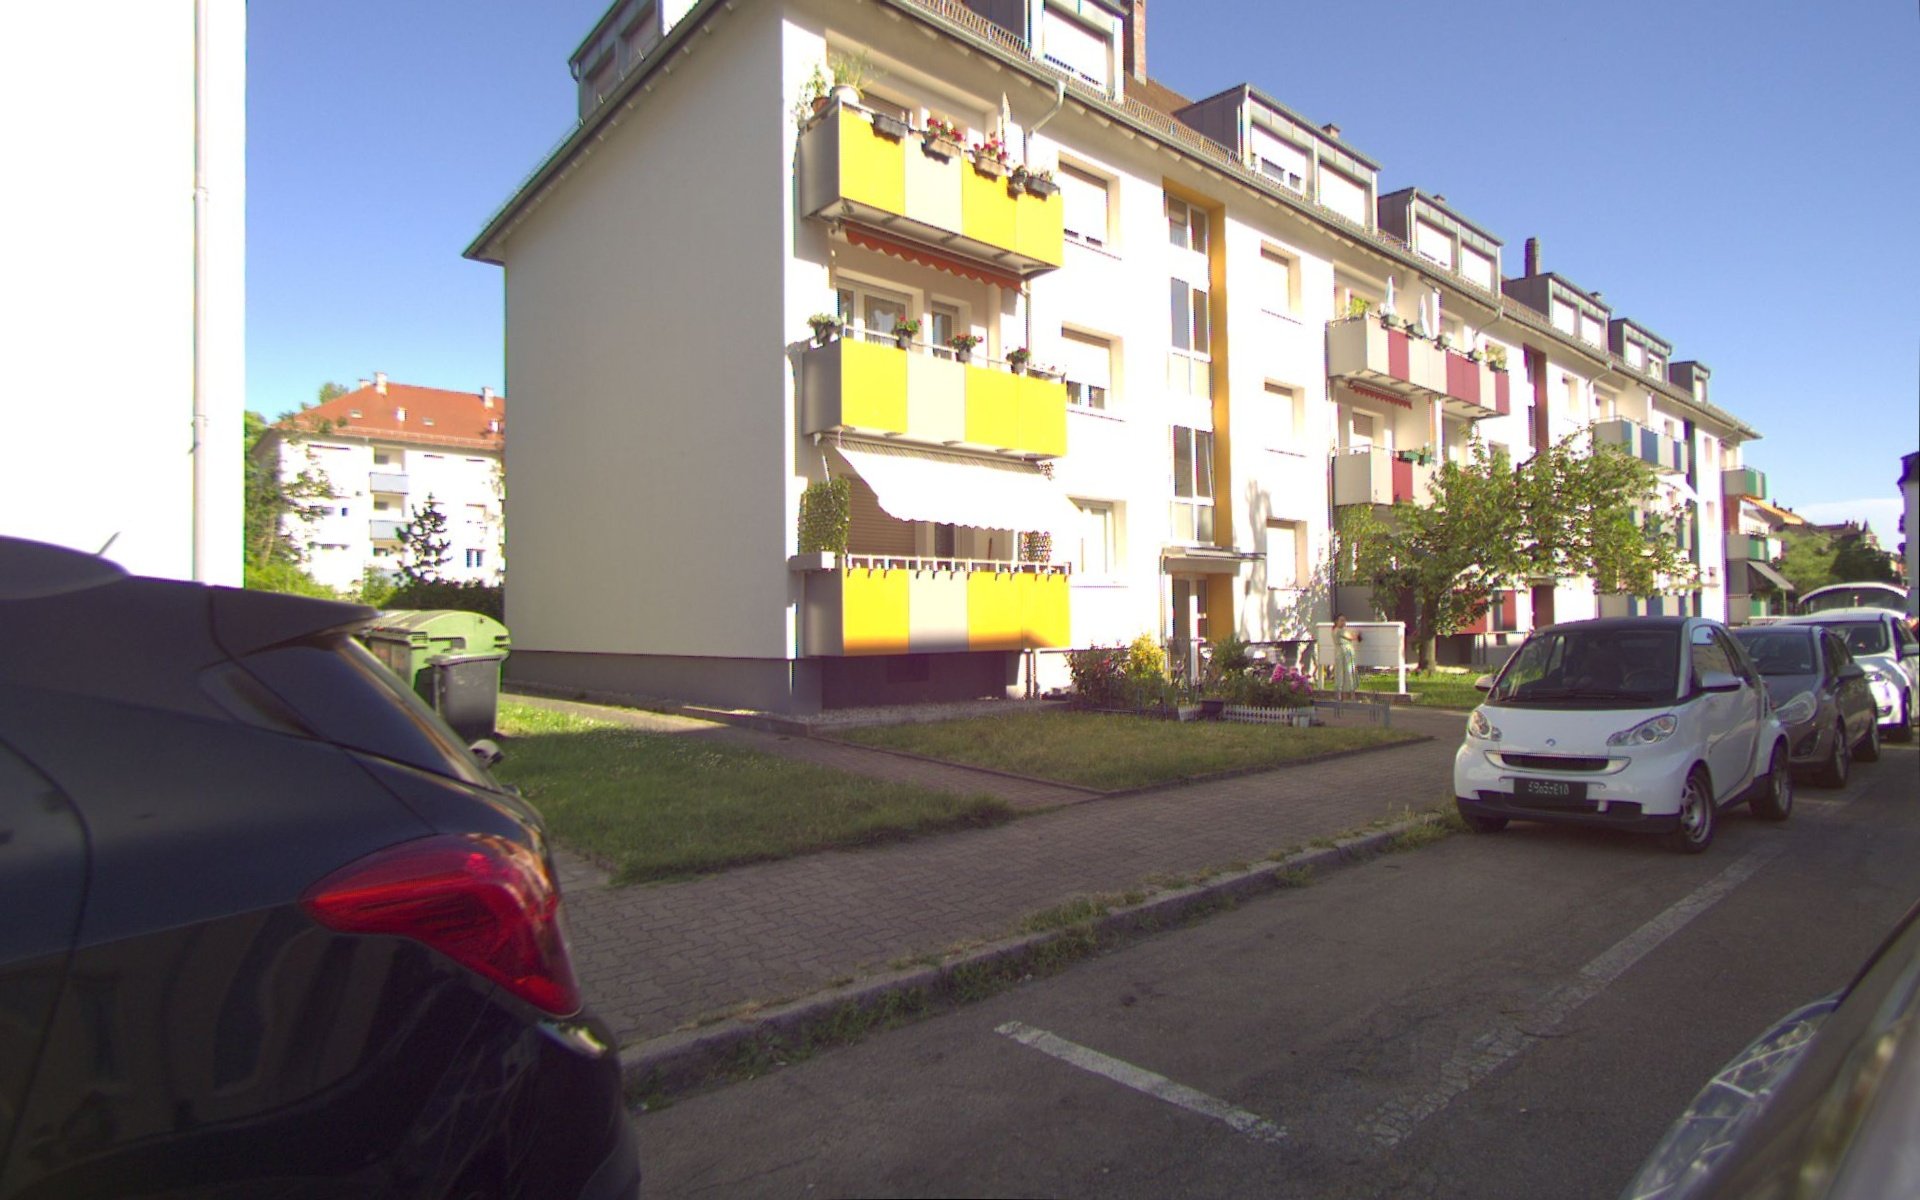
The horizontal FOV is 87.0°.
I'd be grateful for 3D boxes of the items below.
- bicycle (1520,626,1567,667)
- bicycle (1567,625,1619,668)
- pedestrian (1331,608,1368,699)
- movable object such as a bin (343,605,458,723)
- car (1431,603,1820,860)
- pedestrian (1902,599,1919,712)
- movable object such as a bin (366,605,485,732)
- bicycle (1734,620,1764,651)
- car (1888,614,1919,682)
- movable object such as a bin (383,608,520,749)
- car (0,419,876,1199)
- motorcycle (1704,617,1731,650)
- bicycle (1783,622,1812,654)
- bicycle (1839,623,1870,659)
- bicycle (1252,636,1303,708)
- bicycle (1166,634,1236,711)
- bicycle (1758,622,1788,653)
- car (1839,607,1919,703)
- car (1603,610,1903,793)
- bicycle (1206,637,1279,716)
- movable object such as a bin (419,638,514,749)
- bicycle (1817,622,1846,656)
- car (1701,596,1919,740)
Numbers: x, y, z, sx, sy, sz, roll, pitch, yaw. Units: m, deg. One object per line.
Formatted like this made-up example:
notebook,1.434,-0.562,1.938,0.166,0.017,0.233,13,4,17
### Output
bicycle,16.126,1.266,27.965,1.940,1.050,0.521,1,-1,-41
bicycle,16.844,1.216,26.912,2.247,1.062,0.521,1,0,-41
pedestrian,6.635,0.895,17.250,0.353,1.514,0.451,-1,0,-40
movable object such as a bin,-7.606,0.821,13.742,1.123,1.443,1.346,-2,1,-40
car,5.046,0.845,7.605,2.886,1.549,1.483,1,-4,-37
pedestrian,14.085,0.797,14.520,0.864,1.595,0.740,1,-1,-41
movable object such as a bin,-6.680,0.804,12.629,1.037,1.429,1.346,-2,1,-40
bicycle,29.786,1.338,38.198,1.840,1.130,0.597,1,-1,-42
car,22.663,1.032,23.004,3.986,1.468,1.650,0,-3,-38
movable object such as a bin,-5.739,0.823,11.392,1.087,1.424,1.330,-2,1,-40
car,-2.383,0.683,0.908,4.389,1.670,1.786,1,-3,-40
motorcycle,29.276,1.287,39.080,1.942,1.254,0.442,1,-1,-41
bicycle,30.693,1.366,37.072,1.840,1.135,0.544,1,-1,-42
bicycle,31.189,1.405,35.291,1.839,1.185,0.545,1,0,-40
bicycle,4.921,1.108,15.698,0.234,1.060,0.742,1,-1,-38
bicycle,3.813,1.125,15.962,1.250,1.147,0.404,1,-2,-40
bicycle,30.211,1.365,37.603,1.840,1.096,0.539,1,1,-42
car,16.732,0.886,17.516,4.404,1.524,1.773,1,-3,-43
car,8.210,0.910,10.359,3.915,1.511,1.695,1,-4,-42
bicycle,4.231,1.124,15.130,1.276,1.100,0.404,1,-1,-40
movable object such as a bin,-5.159,0.946,10.571,0.744,1.047,0.644,-2,1,-40
bicycle,31.282,1.392,36.319,1.840,1.147,0.578,1,0,-42
car,12.136,0.844,13.820,4.904,1.634,1.997,1,-4,-39
